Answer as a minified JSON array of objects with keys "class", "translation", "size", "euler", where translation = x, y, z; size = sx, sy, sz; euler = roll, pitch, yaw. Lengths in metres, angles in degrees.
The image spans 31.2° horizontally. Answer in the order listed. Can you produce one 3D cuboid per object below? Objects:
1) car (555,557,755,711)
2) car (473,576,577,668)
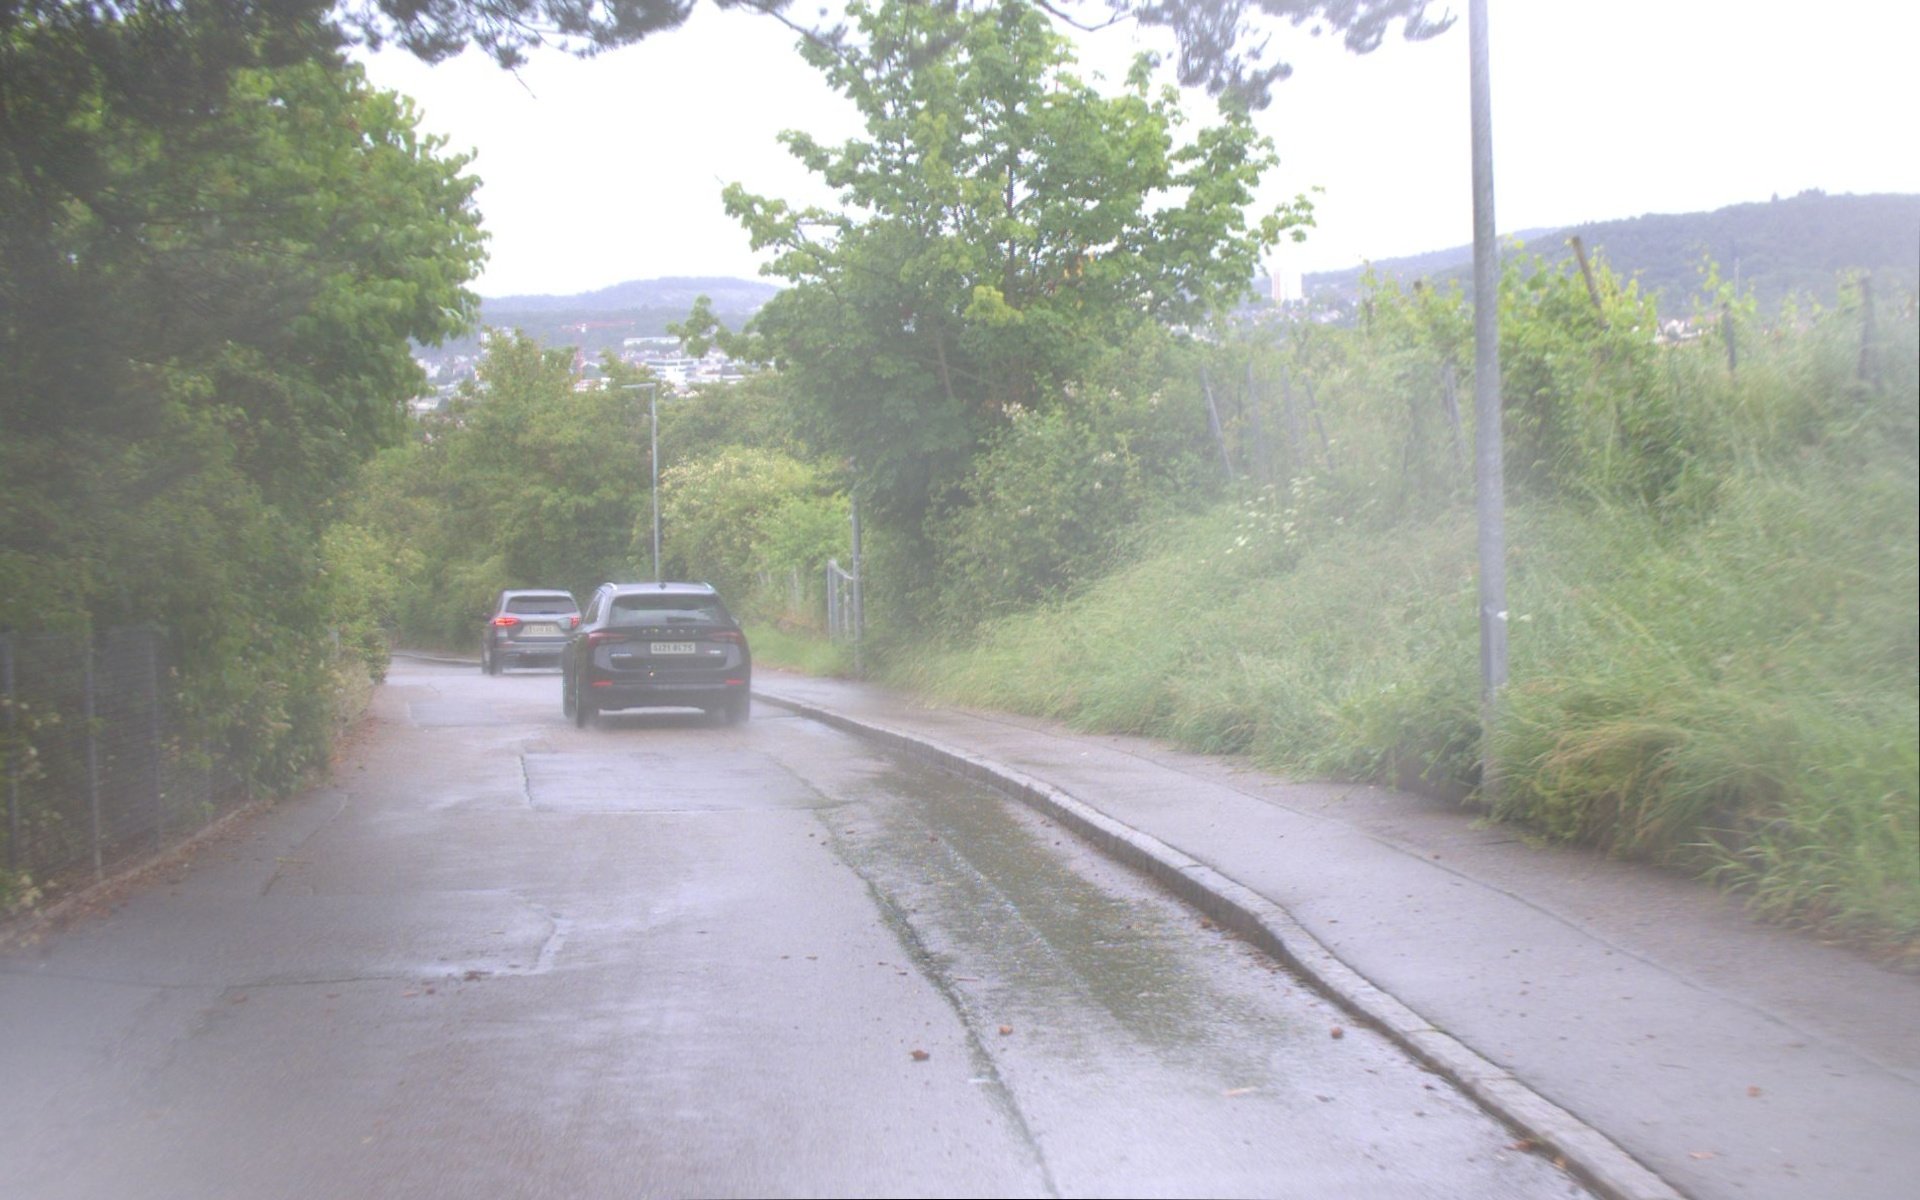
[{"class":"car","translation":[-3.229,0.313,35.794],"size":[1.834,1.459,4.001],"euler":[-2,1,-8]},{"class":"car","translation":[-7.971,0.377,62.796],"size":[1.677,1.560,3.795],"euler":[0,1,-10]}]
